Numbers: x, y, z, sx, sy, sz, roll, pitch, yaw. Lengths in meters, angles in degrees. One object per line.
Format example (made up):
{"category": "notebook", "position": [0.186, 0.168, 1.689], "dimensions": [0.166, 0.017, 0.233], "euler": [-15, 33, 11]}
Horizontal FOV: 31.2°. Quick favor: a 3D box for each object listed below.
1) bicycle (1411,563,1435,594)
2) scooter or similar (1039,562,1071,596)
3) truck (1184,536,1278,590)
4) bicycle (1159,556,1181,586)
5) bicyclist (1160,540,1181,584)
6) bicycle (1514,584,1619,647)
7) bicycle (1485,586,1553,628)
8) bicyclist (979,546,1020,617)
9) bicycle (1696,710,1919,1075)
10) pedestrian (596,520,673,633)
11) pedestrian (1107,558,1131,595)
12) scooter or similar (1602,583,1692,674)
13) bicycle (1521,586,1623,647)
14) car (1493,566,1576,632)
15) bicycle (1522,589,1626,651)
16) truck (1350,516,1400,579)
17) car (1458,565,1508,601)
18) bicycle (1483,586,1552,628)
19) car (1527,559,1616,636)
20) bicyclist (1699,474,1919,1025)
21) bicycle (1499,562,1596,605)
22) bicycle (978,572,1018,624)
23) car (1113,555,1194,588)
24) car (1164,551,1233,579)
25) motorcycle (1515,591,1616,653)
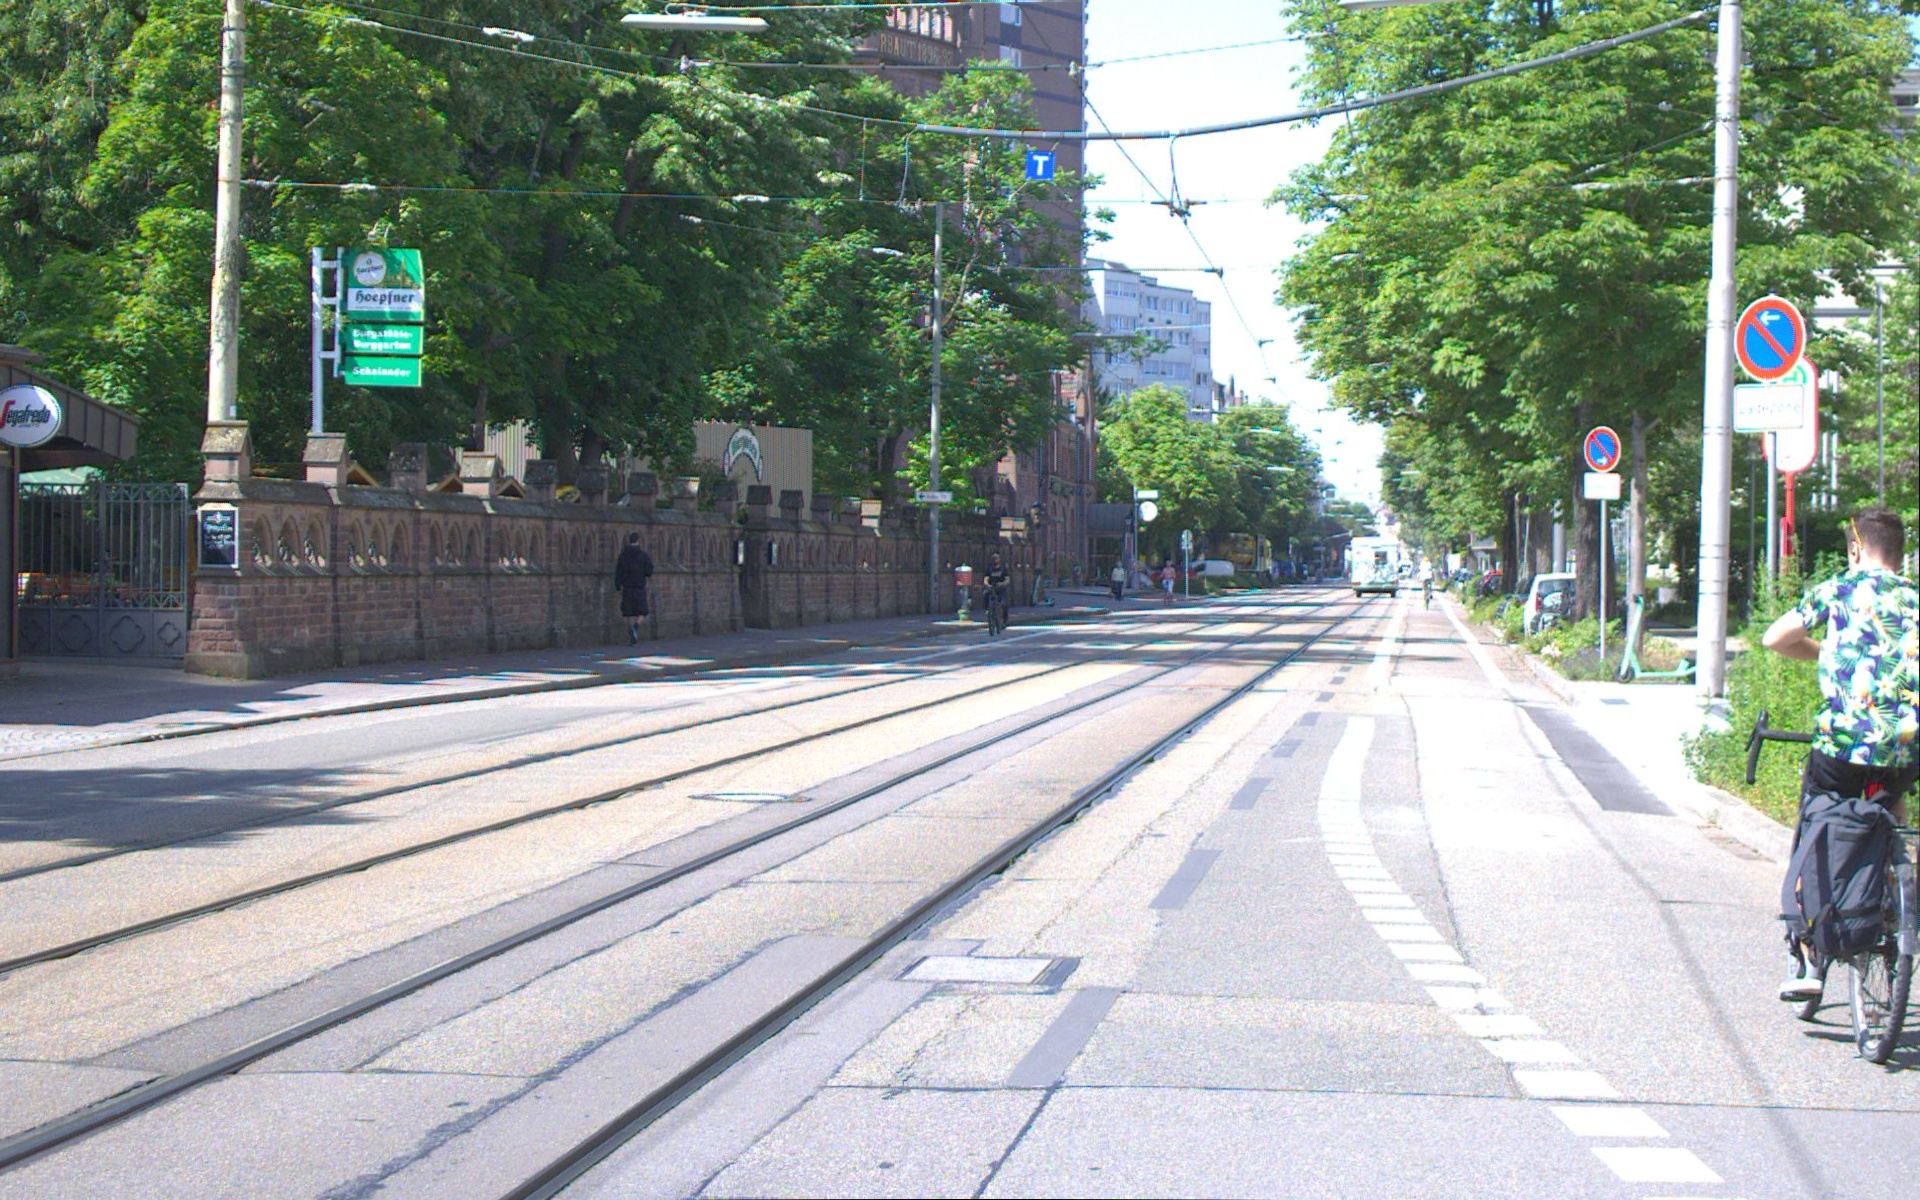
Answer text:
{"category": "bicycle", "position": [17.126, -0.804, 127.177], "dimensions": [0.856, 1.106, 2.139], "euler": [1, 1, 7]}
{"category": "scooter or similar", "position": [3.160, -0.708, 114.216], "dimensions": [1.183, 1.125, 0.333], "euler": [0, 0, -43]}
{"category": "truck", "position": [19.738, -2.664, 249.640], "dimensions": [2.817, 3.846, 9.984], "euler": [1, 0, 29]}
{"category": "bicycle", "position": [8.163, -1.118, 133.629], "dimensions": [0.662, 1.150, 2.013], "euler": [1, 1, 8]}
{"category": "bicyclist", "position": [8.182, -1.464, 133.555], "dimensions": [0.725, 1.693, 1.146], "euler": [0, 0, 7]}
{"category": "bicycle", "position": [11.434, 0.286, 64.858], "dimensions": [1.904, 1.165, 0.819], "euler": [0, 0, 7]}
{"category": "bicycle", "position": [14.601, 0.177, 89.759], "dimensions": [1.725, 1.082, 0.478], "euler": [0, 0, 7]}
{"category": "bicyclist", "position": [0.858, -0.403, 74.574], "dimensions": [0.740, 1.525, 0.947], "euler": [1, 1, 8]}
{"category": "bicycle", "position": [2.849, 0.911, 11.374], "dimensions": [0.609, 0.980, 2.163], "euler": [1, 1, 7]}
{"category": "pedestrian", "position": [-5.292, -0.388, 55.926], "dimensions": [0.977, 1.809, 1.184], "euler": [1, 0, 8]}
{"category": "pedestrian", "position": [6.590, -0.979, 142.233], "dimensions": [0.883, 1.507, 1.476], "euler": [1, 0, -1]}
{"category": "scooter or similar", "position": [8.971, 0.367, 44.939], "dimensions": [1.126, 1.162, 0.675], "euler": [1, 1, 10]}
{"category": "bicycle", "position": [11.209, 0.302, 63.018], "dimensions": [1.793, 1.082, 0.726], "euler": [0, 0, 7]}
{"category": "car", "position": [13.467, -0.045, 80.719], "dimensions": [1.630, 1.478, 4.272], "euler": [1, 1, 6]}
{"category": "bicycle", "position": [11.338, 0.368, 63.535], "dimensions": [1.849, 1.128, 0.680], "euler": [0, 0, 7]}
{"category": "truck", "position": [20.886, -2.622, 172.747], "dimensions": [2.403, 3.098, 6.035], "euler": [1, 1, 7]}
{"category": "car", "position": [19.623, -0.650, 129.139], "dimensions": [1.630, 1.350, 3.901], "euler": [0, 1, 6]}
{"category": "bicycle", "position": [14.456, 0.177, 89.181], "dimensions": [1.725, 1.082, 0.615], "euler": [0, 0, 7]}
{"category": "car", "position": [12.206, -0.064, 68.730], "dimensions": [1.630, 1.467, 3.629], "euler": [1, 1, 9]}
{"category": "bicyclist", "position": [2.844, 0.461, 11.260], "dimensions": [0.716, 1.718, 0.987], "euler": [1, 1, 7]}
{"category": "bicycle", "position": [18.792, -0.522, 109.954], "dimensions": [3.029, 1.327, 1.040], "euler": [1, 0, 11]}
{"category": "bicycle", "position": [0.825, -0.057, 74.598], "dimensions": [0.592, 1.102, 2.053], "euler": [1, 1, 8]}
{"category": "car", "position": [10.612, -1.563, 188.539], "dimensions": [3.986, 1.804, 1.890], "euler": [0, 0, -29]}
{"category": "car", "position": [15.337, -2.250, 221.174], "dimensions": [3.986, 1.744, 2.001], "euler": [0, 0, -22]}
{"category": "motorcycle", "position": [10.705, 0.385, 60.779], "dimensions": [1.725, 1.082, 0.658], "euler": [0, 0, 7]}
